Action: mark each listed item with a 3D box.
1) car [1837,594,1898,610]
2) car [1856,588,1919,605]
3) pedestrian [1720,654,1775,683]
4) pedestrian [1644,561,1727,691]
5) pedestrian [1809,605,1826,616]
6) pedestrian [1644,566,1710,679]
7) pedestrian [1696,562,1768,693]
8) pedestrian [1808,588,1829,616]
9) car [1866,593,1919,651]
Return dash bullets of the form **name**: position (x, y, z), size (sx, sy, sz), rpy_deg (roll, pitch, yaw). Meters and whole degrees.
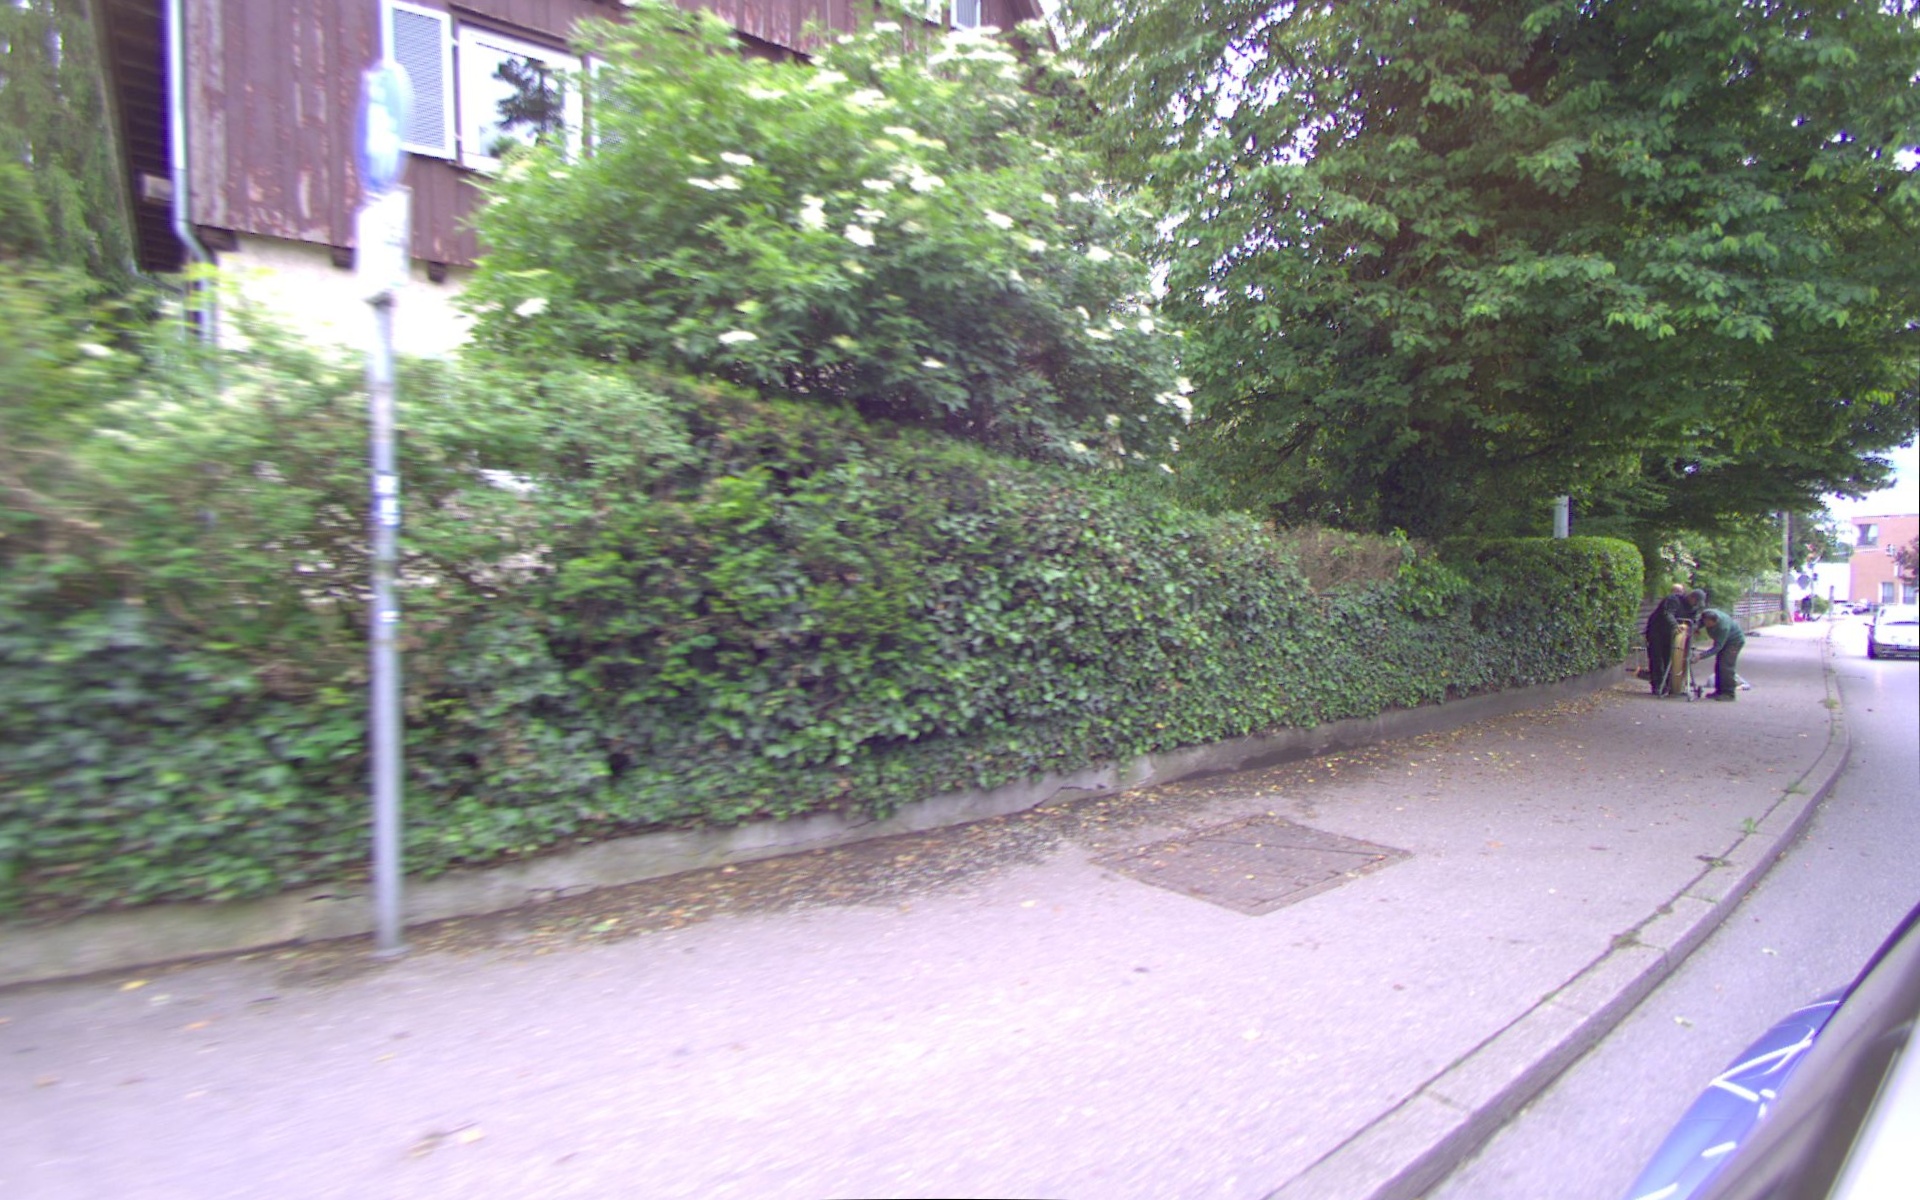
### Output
- **car**: position (97.428, 0.241, 108.661), size (4.378, 1.577, 1.988), rpy_deg (2, 0, 18)
- **car**: position (96.091, -0.385, 104.865), size (4.378, 1.577, 1.988), rpy_deg (2, 0, 18)
- **pedestrian**: position (13.060, 1.133, 16.782), size (0.671, 0.398, 0.730), rpy_deg (2, 1, 41)
- **pedestrian**: position (10.550, 0.366, 14.739), size (0.678, 1.830, 0.673), rpy_deg (1, 0, 1)
- **pedestrian**: position (58.976, 0.726, 69.603), size (0.634, 0.705, 0.585), rpy_deg (1, 1, 1)
- **pedestrian**: position (12.014, 0.359, 16.952), size (0.806, 1.830, 0.730), rpy_deg (1, 1, 41)
- **pedestrian**: position (11.029, 0.383, 14.477), size (0.508, 1.830, 0.603), rpy_deg (1, 0, -8)
- **pedestrian**: position (59.680, 0.135, 70.336), size (0.839, 1.948, 0.795), rpy_deg (1, 0, 22)
- **car**: position (28.529, 0.626, 30.337), size (1.992, 1.616, 3.940), rpy_deg (1, 0, 42)
